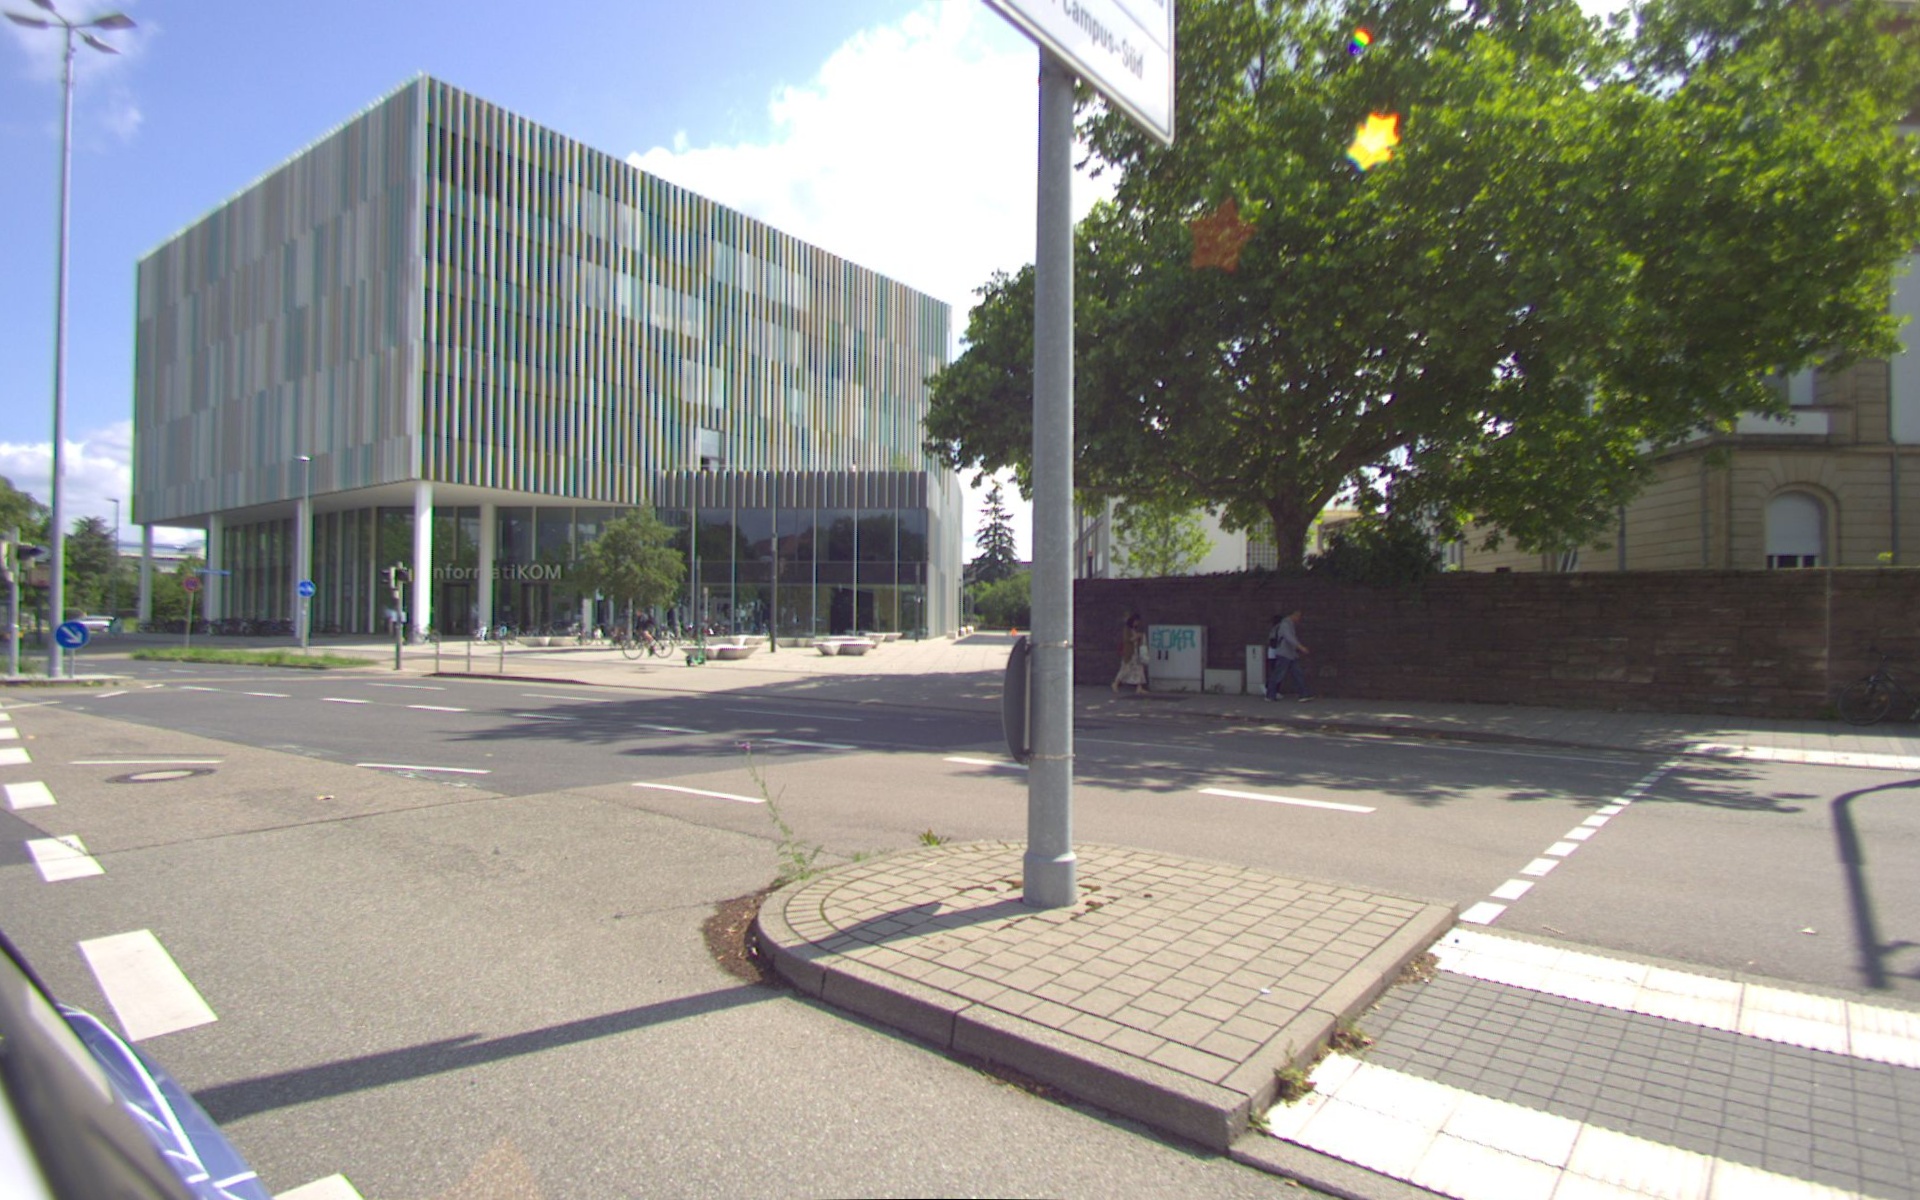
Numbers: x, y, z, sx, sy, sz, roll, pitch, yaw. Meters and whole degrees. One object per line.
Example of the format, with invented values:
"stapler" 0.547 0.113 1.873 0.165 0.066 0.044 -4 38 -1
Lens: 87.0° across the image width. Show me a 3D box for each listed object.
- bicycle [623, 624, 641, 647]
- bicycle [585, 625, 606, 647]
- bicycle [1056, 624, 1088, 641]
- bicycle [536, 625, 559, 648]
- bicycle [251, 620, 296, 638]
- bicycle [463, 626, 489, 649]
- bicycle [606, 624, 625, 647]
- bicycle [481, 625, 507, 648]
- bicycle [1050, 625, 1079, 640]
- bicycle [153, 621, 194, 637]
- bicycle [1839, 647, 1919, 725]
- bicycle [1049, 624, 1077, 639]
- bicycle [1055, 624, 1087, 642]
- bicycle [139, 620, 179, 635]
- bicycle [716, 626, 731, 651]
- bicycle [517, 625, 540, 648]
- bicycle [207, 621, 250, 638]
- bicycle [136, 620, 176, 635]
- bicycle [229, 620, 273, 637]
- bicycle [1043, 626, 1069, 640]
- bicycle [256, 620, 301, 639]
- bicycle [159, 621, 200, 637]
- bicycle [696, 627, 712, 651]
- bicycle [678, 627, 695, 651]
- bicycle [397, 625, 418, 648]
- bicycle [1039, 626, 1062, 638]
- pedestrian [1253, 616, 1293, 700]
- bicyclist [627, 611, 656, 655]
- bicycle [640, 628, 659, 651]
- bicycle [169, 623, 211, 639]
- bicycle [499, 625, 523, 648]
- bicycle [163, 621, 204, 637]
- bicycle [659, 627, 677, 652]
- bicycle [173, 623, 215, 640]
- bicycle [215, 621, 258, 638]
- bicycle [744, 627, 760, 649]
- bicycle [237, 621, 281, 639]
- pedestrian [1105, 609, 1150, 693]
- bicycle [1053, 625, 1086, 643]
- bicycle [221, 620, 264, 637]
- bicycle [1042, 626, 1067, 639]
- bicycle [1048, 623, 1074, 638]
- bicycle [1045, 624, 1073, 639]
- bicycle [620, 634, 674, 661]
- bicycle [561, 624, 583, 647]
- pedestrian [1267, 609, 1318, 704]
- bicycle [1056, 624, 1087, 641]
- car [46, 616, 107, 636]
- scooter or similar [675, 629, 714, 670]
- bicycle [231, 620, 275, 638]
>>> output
"bicycle" -16.362 1.769 50.526 0.710 1.105 2.224 0 -1 -14
"bicycle" -18.033 1.771 50.120 0.710 1.105 2.224 0 -1 -14
"bicycle" 6.716 1.959 60.620 1.888 1.022 0.695 0 -1 7
"bicycle" -20.594 1.805 50.569 0.710 1.105 2.224 0 -1 -14
"bicycle" -42.750 1.812 63.063 0.753 1.105 2.194 -1 -2 32
"bicycle" -23.886 1.831 49.993 0.710 1.105 2.224 0 -1 -14
"bicycle" -17.137 1.761 50.411 0.710 1.105 2.224 0 -1 -14
"bicycle" -23.128 1.819 50.258 0.710 1.105 2.224 0 -1 -14
"bicycle" 6.786 2.108 65.690 1.888 1.022 0.695 0 -1 7
"bicycle" -56.249 2.045 72.381 0.720 1.105 2.194 -1 -2 32
"bicycle" 13.716 1.214 14.285 1.874 1.056 0.625 -1 -2 31
"bicycle" 6.924 2.128 68.044 1.888 1.022 0.695 0 -1 7
"bicycle" 6.569 1.935 59.807 1.888 1.022 0.695 0 -1 7
"bicycle" -60.044 2.086 75.870 0.720 1.105 2.194 -1 -2 32
"bicycle" -11.808 1.913 50.489 0.734 1.199 2.324 0 -1 -13
"bicycle" -21.455 1.822 50.374 0.710 1.105 2.224 0 -1 -14
"bicycle" -48.134 1.939 66.600 0.720 1.105 2.194 -1 -2 32
"bicycle" -58.946 2.036 74.227 0.720 1.105 2.194 -1 -2 32
"bicycle" -45.626 1.834 65.154 0.720 1.105 2.194 -1 -2 32
"bicycle" 7.206 2.490 75.854 1.888 1.022 0.695 0 -1 7
"bicycle" -41.971 1.814 62.321 0.720 1.105 2.194 -1 -2 32
"bicycle" -55.464 2.049 71.922 0.720 1.098 2.194 -1 -2 32
"bicycle" -12.713 1.921 50.263 0.734 1.199 2.324 0 -1 -13
"bicycle" -13.653 1.932 50.481 0.734 1.199 2.324 0 -1 -13
"bicycle" -27.269 1.776 49.923 0.540 1.105 1.636 1 -2 -41
"bicycle" 7.469 2.634 83.560 1.888 1.022 0.695 0 -1 7
"pedestrian" 5.919 1.085 19.129 0.615 1.551 0.472 -1 -2 35
"bicyclist" -10.791 1.126 34.301 0.930 1.475 0.634 0 -2 -19
"bicycle" -15.454 1.950 50.411 0.734 1.146 2.324 0 -1 -13
"bicycle" -53.615 2.146 70.457 0.720 1.105 2.194 -1 -2 32
"bicycle" -22.345 1.821 50.401 0.710 1.105 2.224 0 -1 -14
"bicycle" -54.802 2.049 71.455 0.720 1.105 2.194 -1 -2 32
"bicycle" -14.521 1.940 50.322 0.734 1.199 2.324 0 -1 -13
"bicycle" -52.761 2.161 69.726 0.720 1.105 2.194 -1 -2 32
"bicycle" -47.310 1.902 66.184 0.720 1.105 2.194 -1 -2 32
"bicycle" -10.412 1.888 50.584 0.710 1.105 2.224 0 -1 -14
"bicycle" -43.853 1.859 63.340 0.720 1.105 2.194 -1 -2 32
"pedestrian" 3.401 1.027 20.534 0.725 1.664 0.555 -1 -2 35
"bicycle" 6.294 1.959 58.301 1.888 1.022 0.695 0 -1 7
"bicycle" -46.475 1.857 65.575 0.720 1.105 2.194 -1 -2 32
"bicycle" 7.358 2.534 78.809 1.888 1.022 0.695 0 -1 7
"bicycle" 7.243 2.179 72.547 1.888 1.022 0.695 0 -1 7
"bicycle" 6.806 2.159 69.643 1.888 1.022 0.695 0 -1 7
"bicycle" -10.624 1.596 34.346 1.745 0.899 0.640 0 -2 -18
"bicycle" -19.115 1.745 49.870 0.710 1.105 2.224 0 -1 -14
"pedestrian" 6.035 1.010 18.368 0.729 1.664 0.635 -1 -2 35
"bicycle" 6.841 1.997 61.950 1.888 1.022 0.695 0 -1 7
"car" -79.502 2.336 91.105 1.644 1.699 3.948 -1 -2 39
"scooter or similar" -7.877 1.460 30.071 0.498 1.166 1.497 0 -1 12
"bicycle" -45.015 1.847 64.470 0.733 1.105 2.194 -1 -2 32
